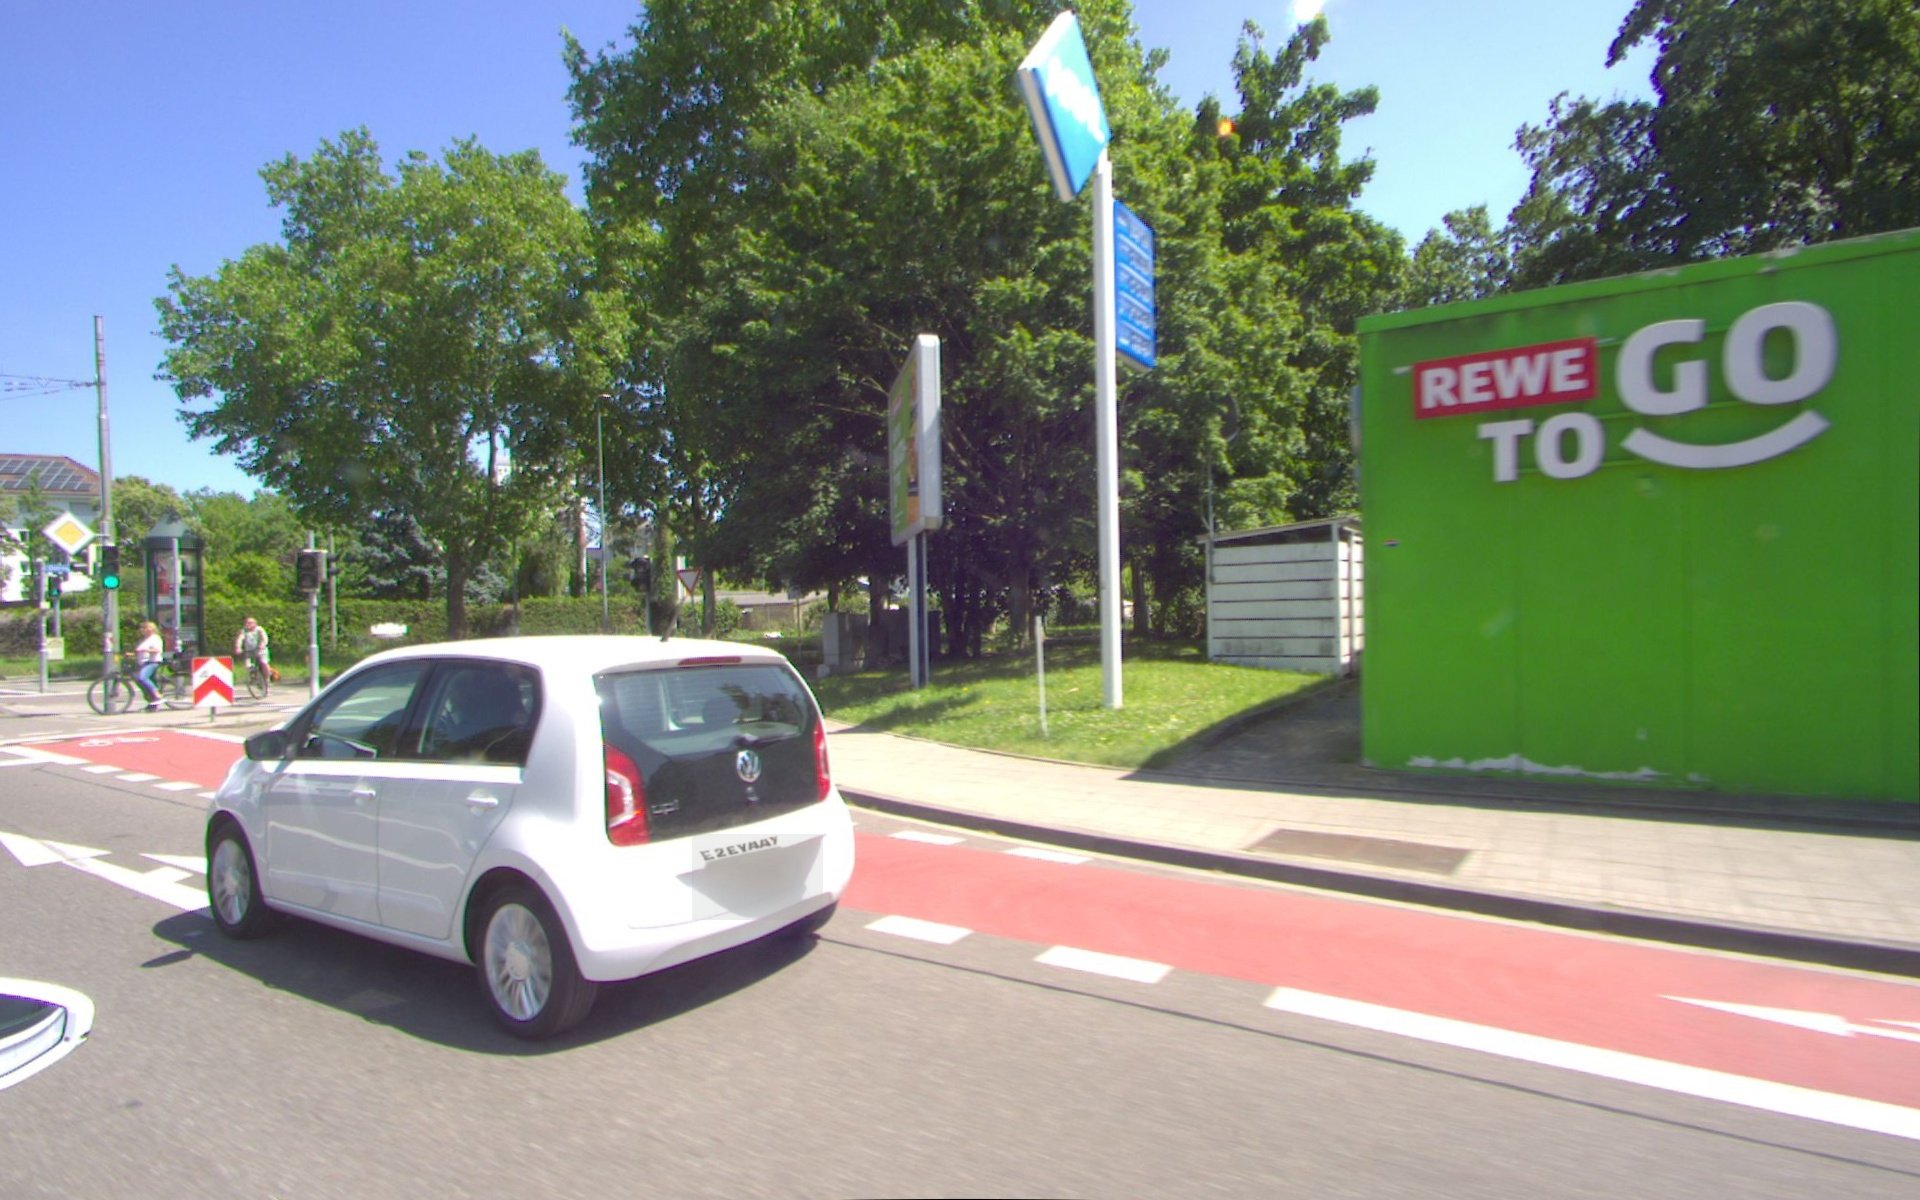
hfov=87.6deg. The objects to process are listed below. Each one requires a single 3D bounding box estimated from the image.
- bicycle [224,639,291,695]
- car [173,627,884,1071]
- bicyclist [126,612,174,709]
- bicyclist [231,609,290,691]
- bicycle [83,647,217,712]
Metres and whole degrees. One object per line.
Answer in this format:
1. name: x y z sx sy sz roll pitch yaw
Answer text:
1. bicycle: -15.895 1.499 22.704 0.881 1.174 1.949 -1 -1 -25
2. car: -2.202 0.871 4.925 3.387 1.466 1.606 -1 -2 33
3. bicyclist: -15.503 1.156 19.166 0.759 1.810 0.574 -1 -2 40
4. bicyclist: -15.866 1.125 22.724 0.961 1.811 0.724 -1 0 -25
5. bicycle: -15.424 1.481 19.107 0.884 1.139 1.859 -2 -2 40
